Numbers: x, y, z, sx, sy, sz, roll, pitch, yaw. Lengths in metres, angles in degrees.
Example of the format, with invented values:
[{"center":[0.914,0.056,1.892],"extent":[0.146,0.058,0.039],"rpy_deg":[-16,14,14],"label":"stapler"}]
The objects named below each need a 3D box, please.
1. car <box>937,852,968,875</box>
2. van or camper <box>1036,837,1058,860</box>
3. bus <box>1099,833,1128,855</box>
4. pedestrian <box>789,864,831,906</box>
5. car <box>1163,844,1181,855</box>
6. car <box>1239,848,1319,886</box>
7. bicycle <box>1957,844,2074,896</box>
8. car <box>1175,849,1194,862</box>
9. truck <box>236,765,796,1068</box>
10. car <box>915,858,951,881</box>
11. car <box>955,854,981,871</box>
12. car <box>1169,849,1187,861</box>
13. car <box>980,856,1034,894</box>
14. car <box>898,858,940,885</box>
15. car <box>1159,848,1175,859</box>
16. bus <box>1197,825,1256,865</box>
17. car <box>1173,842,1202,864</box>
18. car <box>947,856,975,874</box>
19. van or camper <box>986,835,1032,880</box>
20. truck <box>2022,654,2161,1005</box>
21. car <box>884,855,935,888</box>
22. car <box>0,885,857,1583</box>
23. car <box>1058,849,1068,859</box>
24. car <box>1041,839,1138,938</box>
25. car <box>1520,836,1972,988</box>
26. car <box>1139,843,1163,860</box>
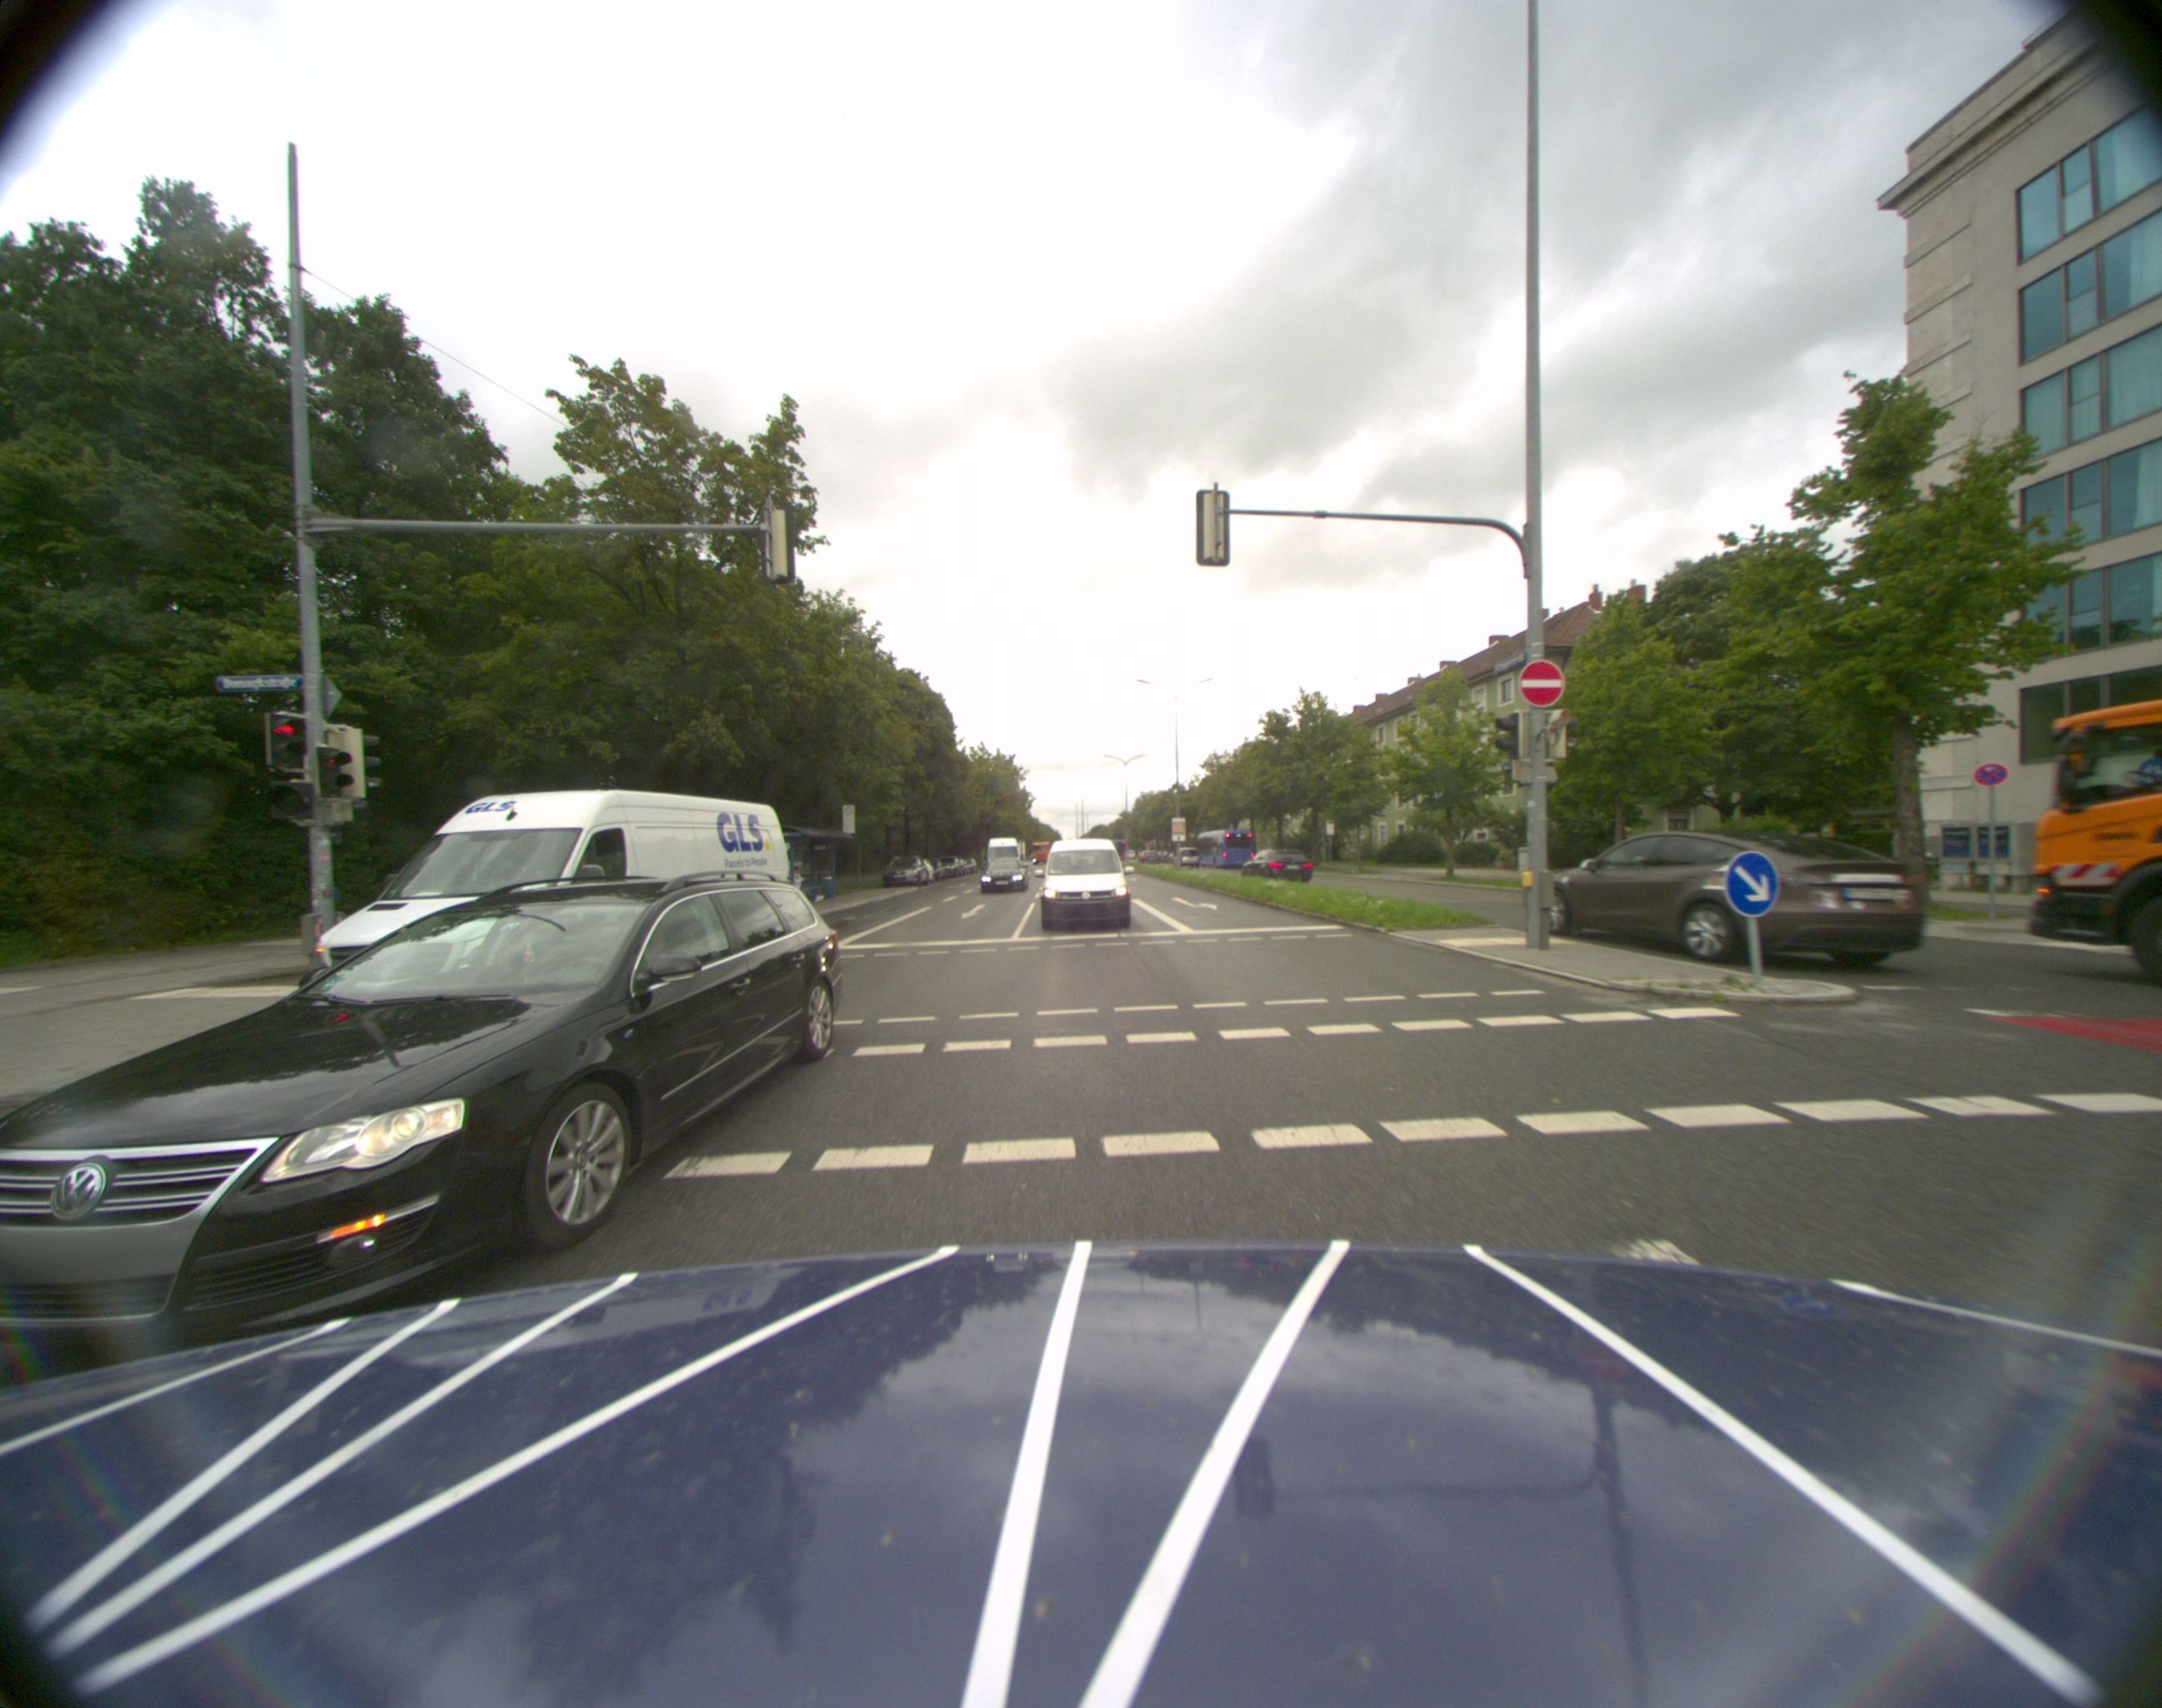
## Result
[{"center":[-9.853,0.728,58.614],"extent":[1.752,1.640,4.254],"rpy_deg":[-1,1,-2],"label":"car"},{"center":[-4.870,-0.763,109.945],"extent":[2.781,3.219,7.073],"rpy_deg":[-1,1,0],"label":"van or camper"},{"center":[5.043,-1.547,119.690],"extent":[2.754,3.324,12.265],"rpy_deg":[0,1,-7],"label":"bus"},{"center":[-9.450,1.073,26.541],"extent":[1.157,1.375,0.611],"rpy_deg":[-4,1,-3],"label":"pedestrian"},{"center":[12.556,-0.584,104.926],"extent":[1.857,1.454,3.909],"rpy_deg":[-3,0,0],"label":"car"},{"center":[8.072,0.476,31.509],"extent":[1.931,1.453,4.897],"rpy_deg":[1,1,-1],"label":"car"},{"center":[22.358,0.364,18.229],"extent":[0.546,1.174,1.826],"rpy_deg":[-2,1,-1],"label":"bicycle"},{"center":[12.822,0.143,94.277],"extent":[1.857,1.454,3.909],"rpy_deg":[-3,0,0],"label":"car"},{"center":[-6.283,0.515,10.247],"extent":[1.998,2.589,7.226],"rpy_deg":[-2,1,0],"label":"truck"},{"center":[-10.213,1.030,52.733],"extent":[1.752,1.420,4.254],"rpy_deg":[-1,1,-2],"label":"car"},{"center":[-10.245,0.728,69.040],"extent":[1.752,1.459,4.254],"rpy_deg":[-1,1,-2],"label":"car"},{"center":[12.748,0.107,99.982],"extent":[1.857,1.454,3.909],"rpy_deg":[-3,0,0],"label":"car"},{"center":[-3.131,0.848,32.997],"extent":[1.819,1.421,4.671],"rpy_deg":[-2,0,0],"label":"car"},{"center":[-9.979,1.040,47.199],"extent":[1.752,1.515,4.395],"rpy_deg":[-1,1,-2],"label":"car"},{"center":[12.490,-0.048,110.603],"extent":[1.857,1.454,3.909],"rpy_deg":[-3,0,0],"label":"car"},{"center":[13.026,-0.787,69.067],"extent":[2.752,3.324,12.046],"rpy_deg":[0,1,-2],"label":"bus"},{"center":[9.599,-0.106,68.911],"extent":[1.784,1.801,4.429],"rpy_deg":[2,0,-2],"label":"car"},{"center":[-10.090,0.899,63.981],"extent":[1.752,1.459,4.037],"rpy_deg":[-1,1,-2],"label":"car"},{"center":[-4.407,0.170,47.674],"extent":[2.183,2.546,7.073],"rpy_deg":[-1,1,0],"label":"van or camper"},{"center":[11.678,-0.233,4.664],"extent":[2.787,3.337,7.265],"rpy_deg":[-1,1,0],"label":"truck"},{"center":[-9.411,0.904,42.040],"extent":[1.884,1.640,4.395],"rpy_deg":[-1,1,-2],"label":"car"},{"center":[-2.778,1.048,4.191],"extent":[1.752,1.466,4.670],"rpy_deg":[-2,1,-2],"label":"car"},{"center":[-3.977,0.027,167.879],"extent":[1.998,2.002,3.999],"rpy_deg":[-1,1,0],"label":"car"},{"center":[0.097,0.625,16.473],"extent":[1.752,1.809,4.670],"rpy_deg":[-1,1,-2],"label":"car"},{"center":[8.213,0.575,10.195],"extent":[1.867,1.533,4.749],"rpy_deg":[1,1,0],"label":"car"},{"center":[6.698,-0.271,73.368],"extent":[1.703,1.561,4.290],"rpy_deg":[-1,1,-2],"label":"car"}]
